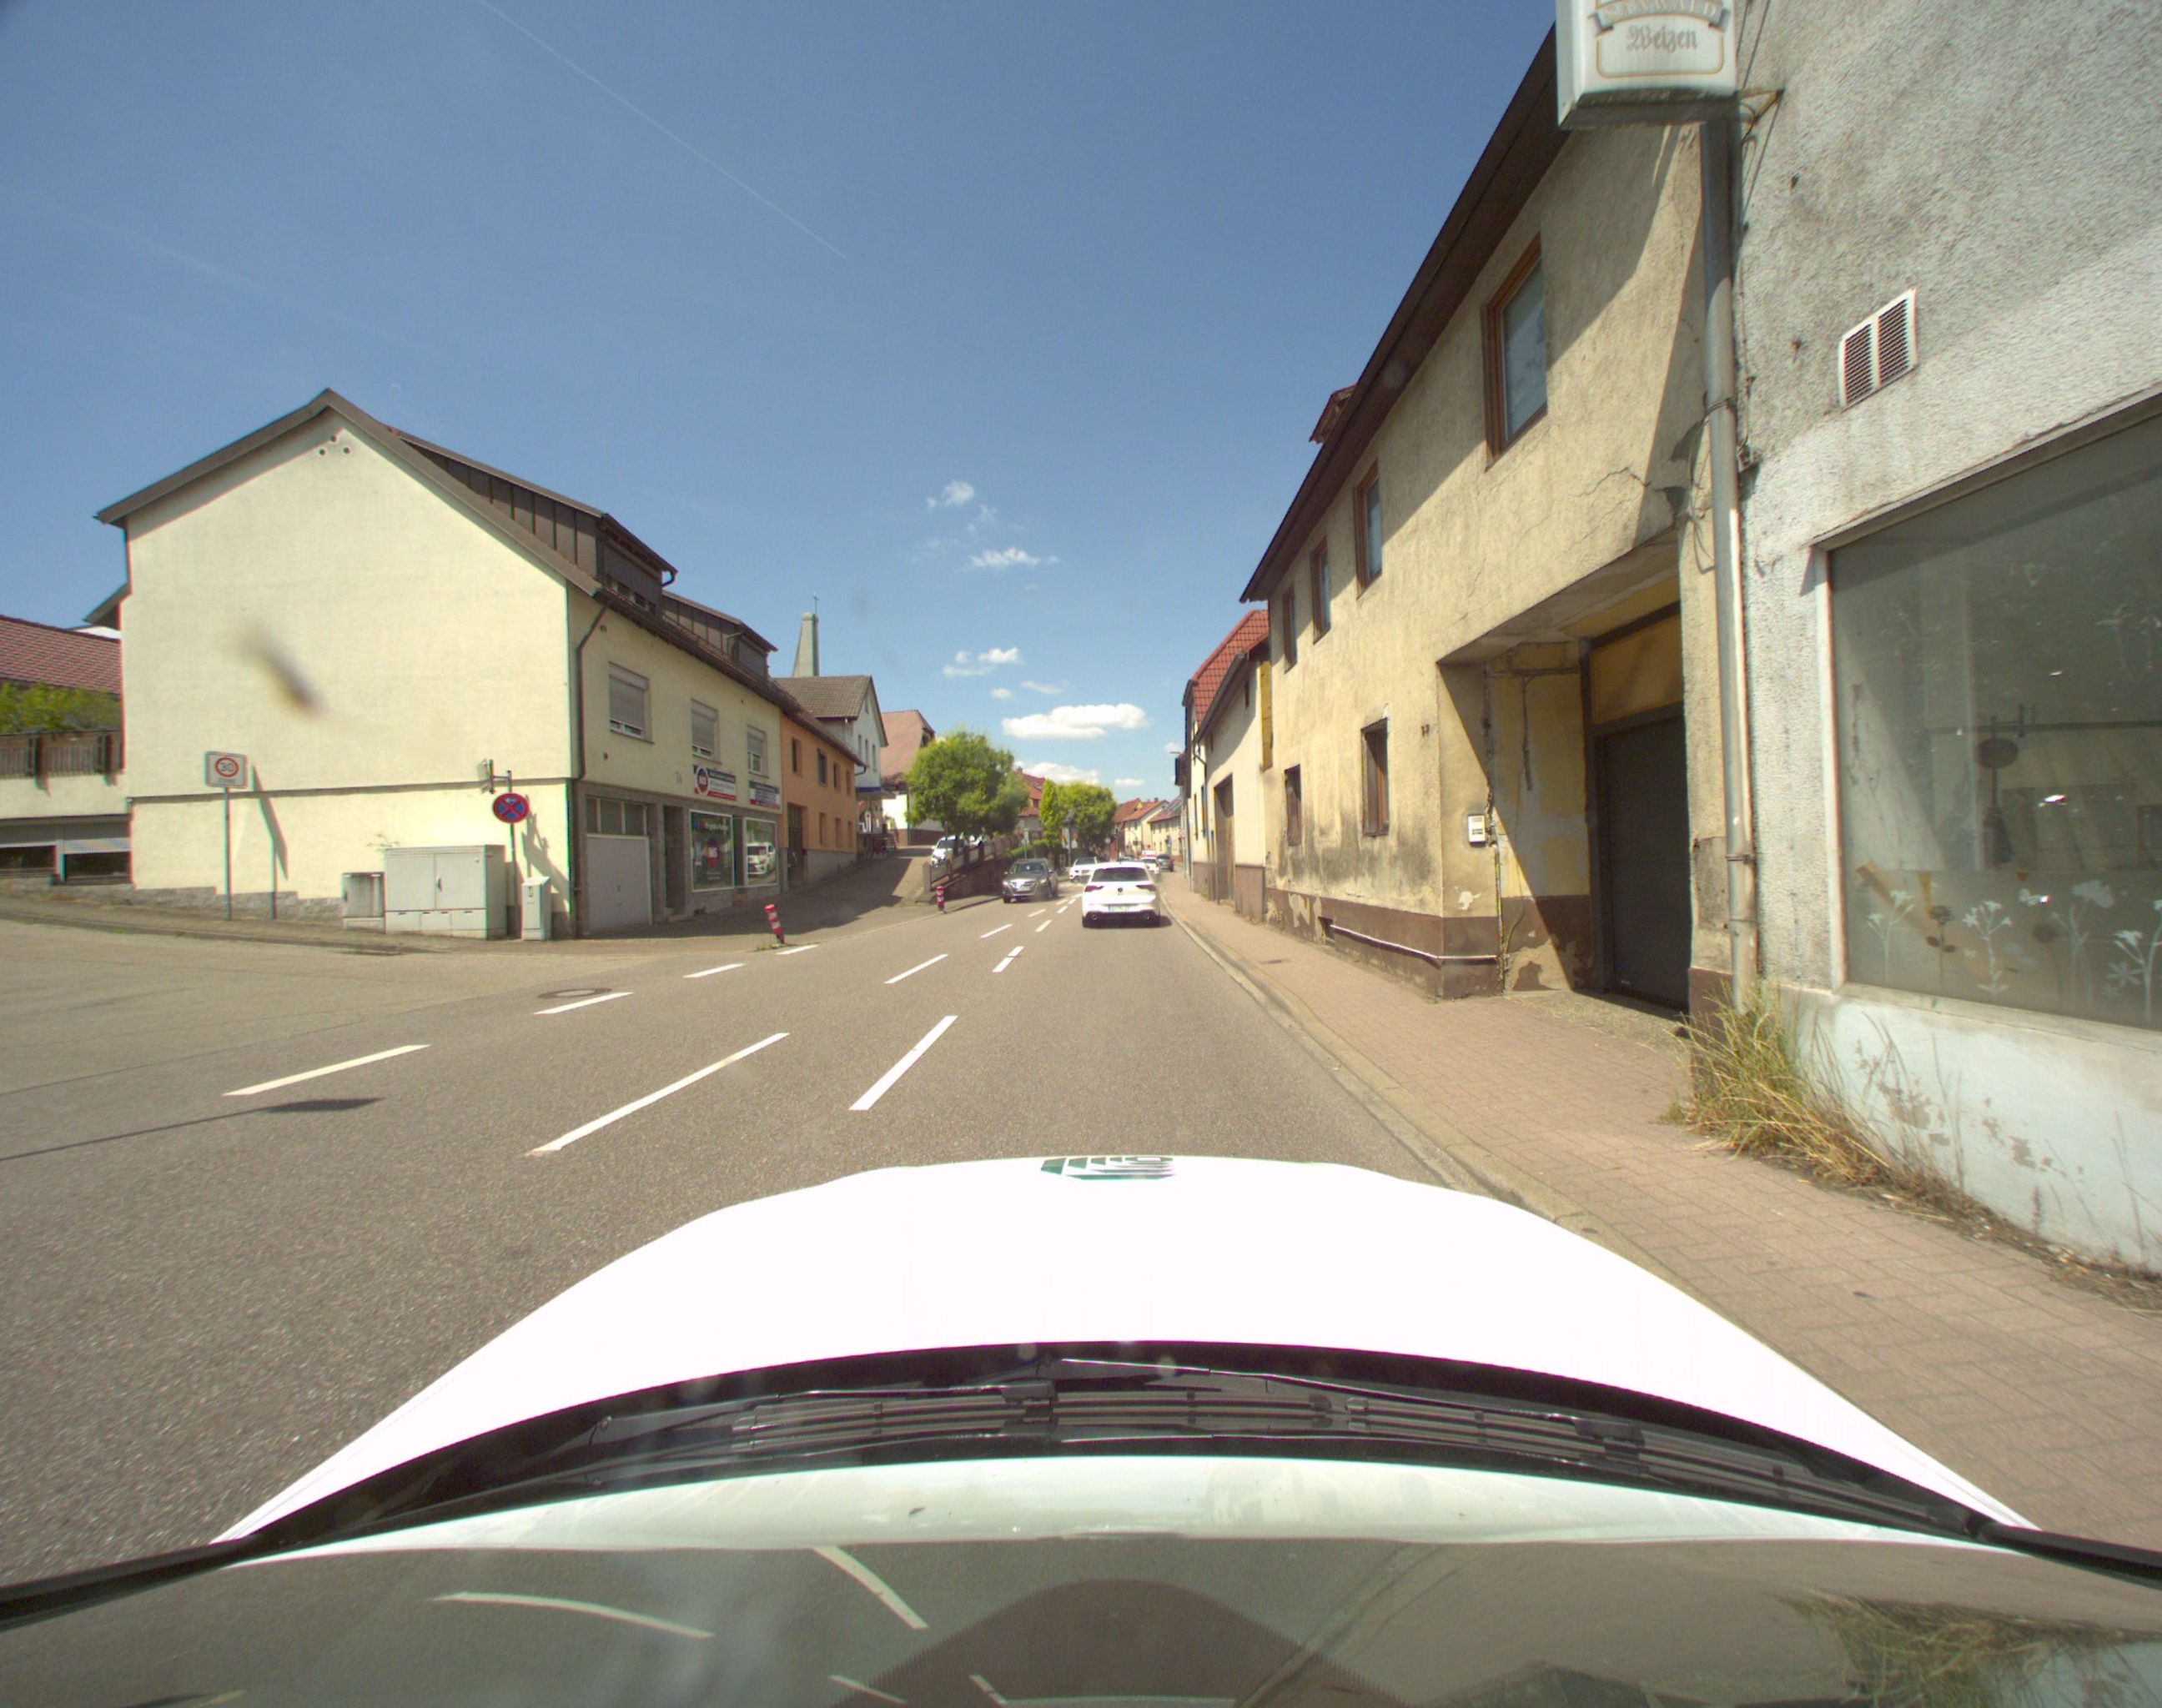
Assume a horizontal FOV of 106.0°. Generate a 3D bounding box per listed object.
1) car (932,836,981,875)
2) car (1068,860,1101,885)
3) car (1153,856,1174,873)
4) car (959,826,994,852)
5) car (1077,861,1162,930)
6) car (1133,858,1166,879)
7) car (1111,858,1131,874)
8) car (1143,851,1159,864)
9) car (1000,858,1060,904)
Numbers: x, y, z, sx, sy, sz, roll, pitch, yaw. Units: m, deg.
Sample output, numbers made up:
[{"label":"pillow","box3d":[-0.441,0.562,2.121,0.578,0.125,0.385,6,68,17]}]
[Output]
[{"label":"car","box3d":[-6.195,0.039,40.904,1.687,1.542,3.859,-2,5,2]},{"label":"car","box3d":[0.309,1.239,55.555,1.834,1.580,4.451,-3,0,5]},{"label":"car","box3d":[7.777,0.955,77.199,1.768,1.538,4.004,-2,0,4]},{"label":"car","box3d":[-6.736,-1.013,52.817,1.571,1.361,3.859,-2,5,2]},{"label":"car","box3d":[0.958,0.909,19.418,1.800,1.467,4.004,0,-1,4]},{"label":"car","box3d":[4.974,1.059,58.929,1.795,1.467,4.014,0,-1,13]},{"label":"car","box3d":[4.042,1.158,81.208,1.805,1.447,4.435,-3,-1,4]},{"label":"car","box3d":[10.088,0.522,117.919,1.771,1.765,3.996,-2,0,-3]},{"label":"car","box3d":[-1.937,1.006,32.222,1.750,1.635,4.054,-3,0,4]}]
